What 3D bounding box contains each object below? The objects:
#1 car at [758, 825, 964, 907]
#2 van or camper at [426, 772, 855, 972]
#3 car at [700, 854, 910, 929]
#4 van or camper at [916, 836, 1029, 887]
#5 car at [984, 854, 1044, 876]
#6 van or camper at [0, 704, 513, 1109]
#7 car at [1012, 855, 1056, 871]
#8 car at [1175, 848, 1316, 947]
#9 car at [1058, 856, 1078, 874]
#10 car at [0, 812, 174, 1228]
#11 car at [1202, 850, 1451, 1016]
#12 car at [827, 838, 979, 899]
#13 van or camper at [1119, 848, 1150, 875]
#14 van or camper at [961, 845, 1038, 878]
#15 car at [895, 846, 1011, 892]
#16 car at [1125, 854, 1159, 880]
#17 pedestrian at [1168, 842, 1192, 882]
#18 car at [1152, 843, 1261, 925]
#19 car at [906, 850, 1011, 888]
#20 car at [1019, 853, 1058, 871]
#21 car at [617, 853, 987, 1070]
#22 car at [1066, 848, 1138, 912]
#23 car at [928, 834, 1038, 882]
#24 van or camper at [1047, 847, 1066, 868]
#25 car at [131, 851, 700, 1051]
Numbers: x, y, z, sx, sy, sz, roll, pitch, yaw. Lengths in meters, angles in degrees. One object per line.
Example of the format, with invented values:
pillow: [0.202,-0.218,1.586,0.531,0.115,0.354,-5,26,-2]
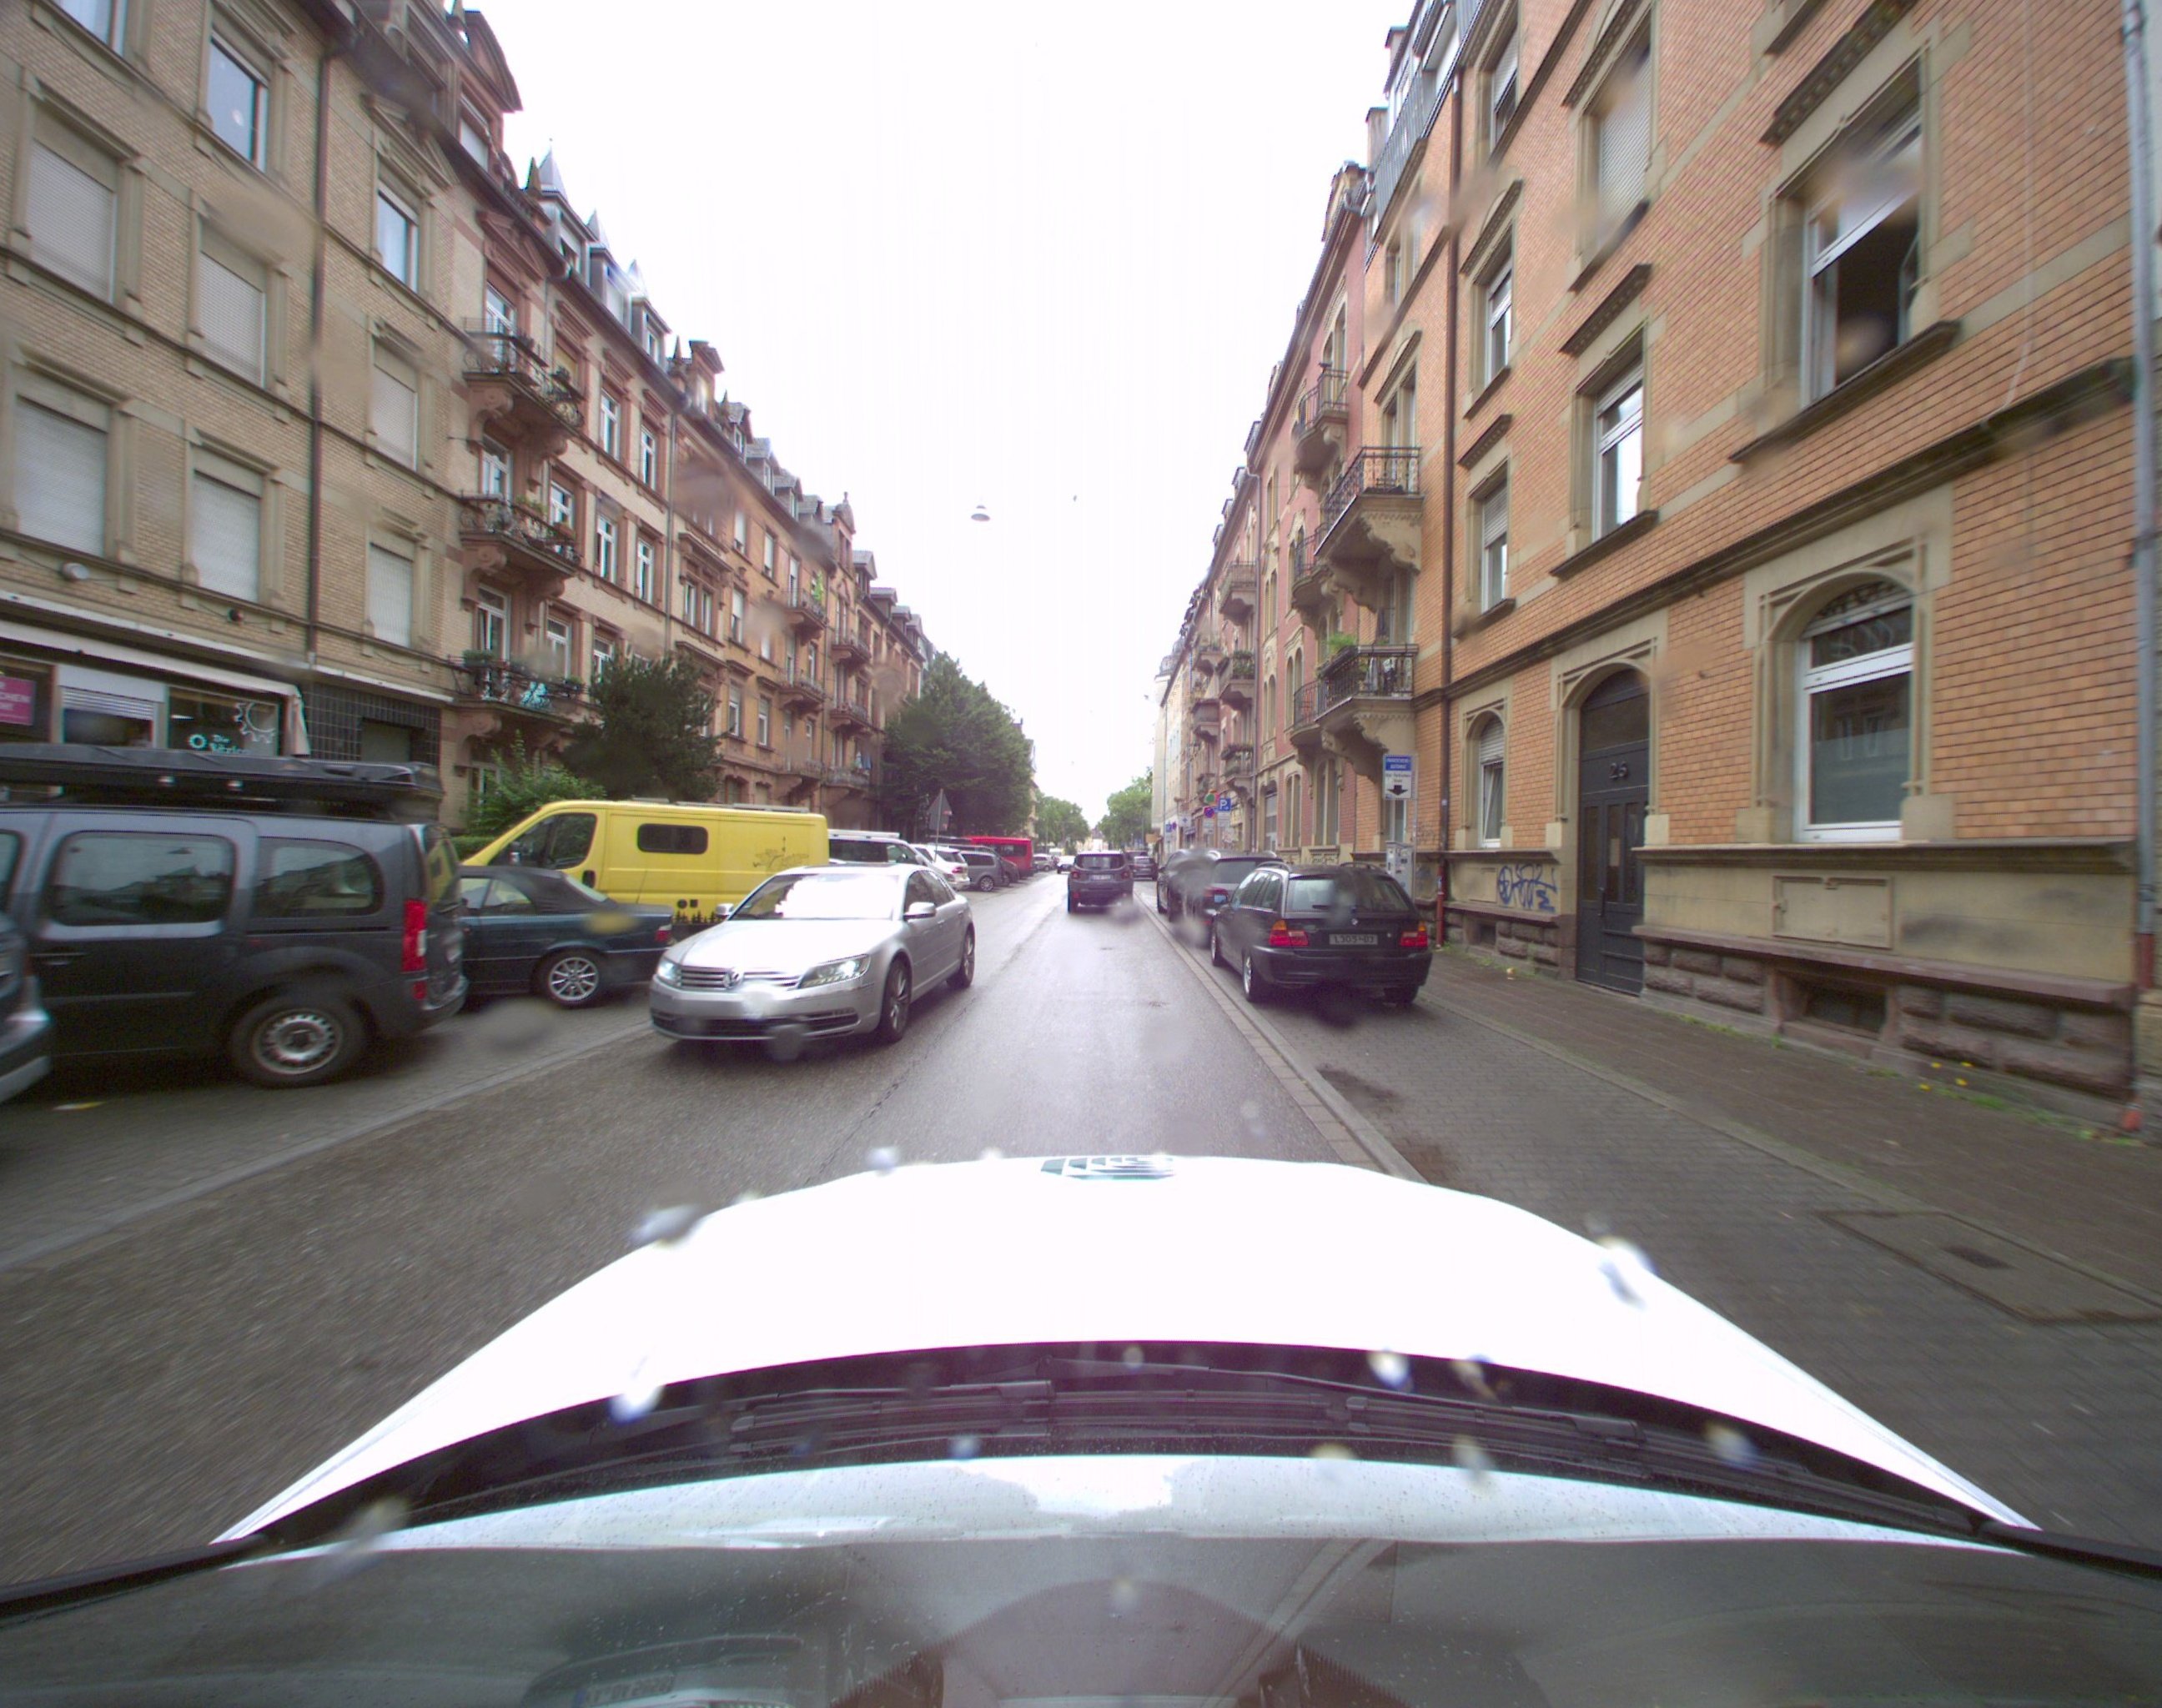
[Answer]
car: [-6.046,0.365,22.524,5.259,2.078,1.856,2,-1,-24]
van or camper: [-5.881,0.277,11.386,4.742,2.268,2.164,3,0,-31]
car: [-5.858,0.765,17.331,4.009,1.436,1.768,1,-1,-28]
van or camper: [-5.303,0.395,39.805,5.033,2.349,2.326,1,0,-25]
car: [-4.853,0.799,59.030,3.998,1.447,1.747,3,0,-39]
van or camper: [-6.412,0.297,5.374,4.097,2.240,1.918,4,-3,-31]
car: [-4.350,0.804,75.831,3.729,1.452,1.668,0,0,-34]
car: [2.836,0.691,15.001,1.864,1.562,4.347,0,0,2]
car: [-1.150,0.956,71.536,1.665,1.559,4.001,1,0,-1]
car: [-6.364,0.544,2.648,4.154,1.662,1.782,4,-3,-35]
car: [2.603,0.718,9.775,1.780,1.466,4.486,1,1,2]
car: [-6.019,0.479,28.160,4.563,1.785,2.545,3,0,0]
van or camper: [3.905,0.559,59.674,2.014,1.891,5.056,0,0,1]
van or camper: [-5.115,0.505,51.332,4.463,1.975,1.764,1,-1,-32]
car: [-5.392,0.641,34.379,4.452,1.630,1.830,4,0,-25]
car: [3.738,0.794,50.232,1.835,1.545,4.003,0,0,0]
pedestrian: [5.286,0.435,43.442,0.672,1.937,0.814,-1,-18,36]
car: [2.937,0.666,20.130,1.987,1.779,4.826,0,0,0]
car: [-5.529,0.694,36.832,4.359,1.504,1.743,3,0,-22]
car: [-4.134,0.760,78.710,3.398,1.654,1.617,0,0,-32]
car: [-2.241,0.748,8.027,1.787,1.494,4.588,0,0,4]
car: [0.572,0.701,23.503,1.892,1.671,4.505,0,0,0]
car: [-5.425,0.243,45.087,5.584,2.541,2.210,1,0,-27]
van or camper: [-3.331,0.564,112.498,2.114,2.531,6.875,-3,-2,1]
car: [-6.120,0.748,8.156,4.013,1.495,1.809,-1,0,-31]
